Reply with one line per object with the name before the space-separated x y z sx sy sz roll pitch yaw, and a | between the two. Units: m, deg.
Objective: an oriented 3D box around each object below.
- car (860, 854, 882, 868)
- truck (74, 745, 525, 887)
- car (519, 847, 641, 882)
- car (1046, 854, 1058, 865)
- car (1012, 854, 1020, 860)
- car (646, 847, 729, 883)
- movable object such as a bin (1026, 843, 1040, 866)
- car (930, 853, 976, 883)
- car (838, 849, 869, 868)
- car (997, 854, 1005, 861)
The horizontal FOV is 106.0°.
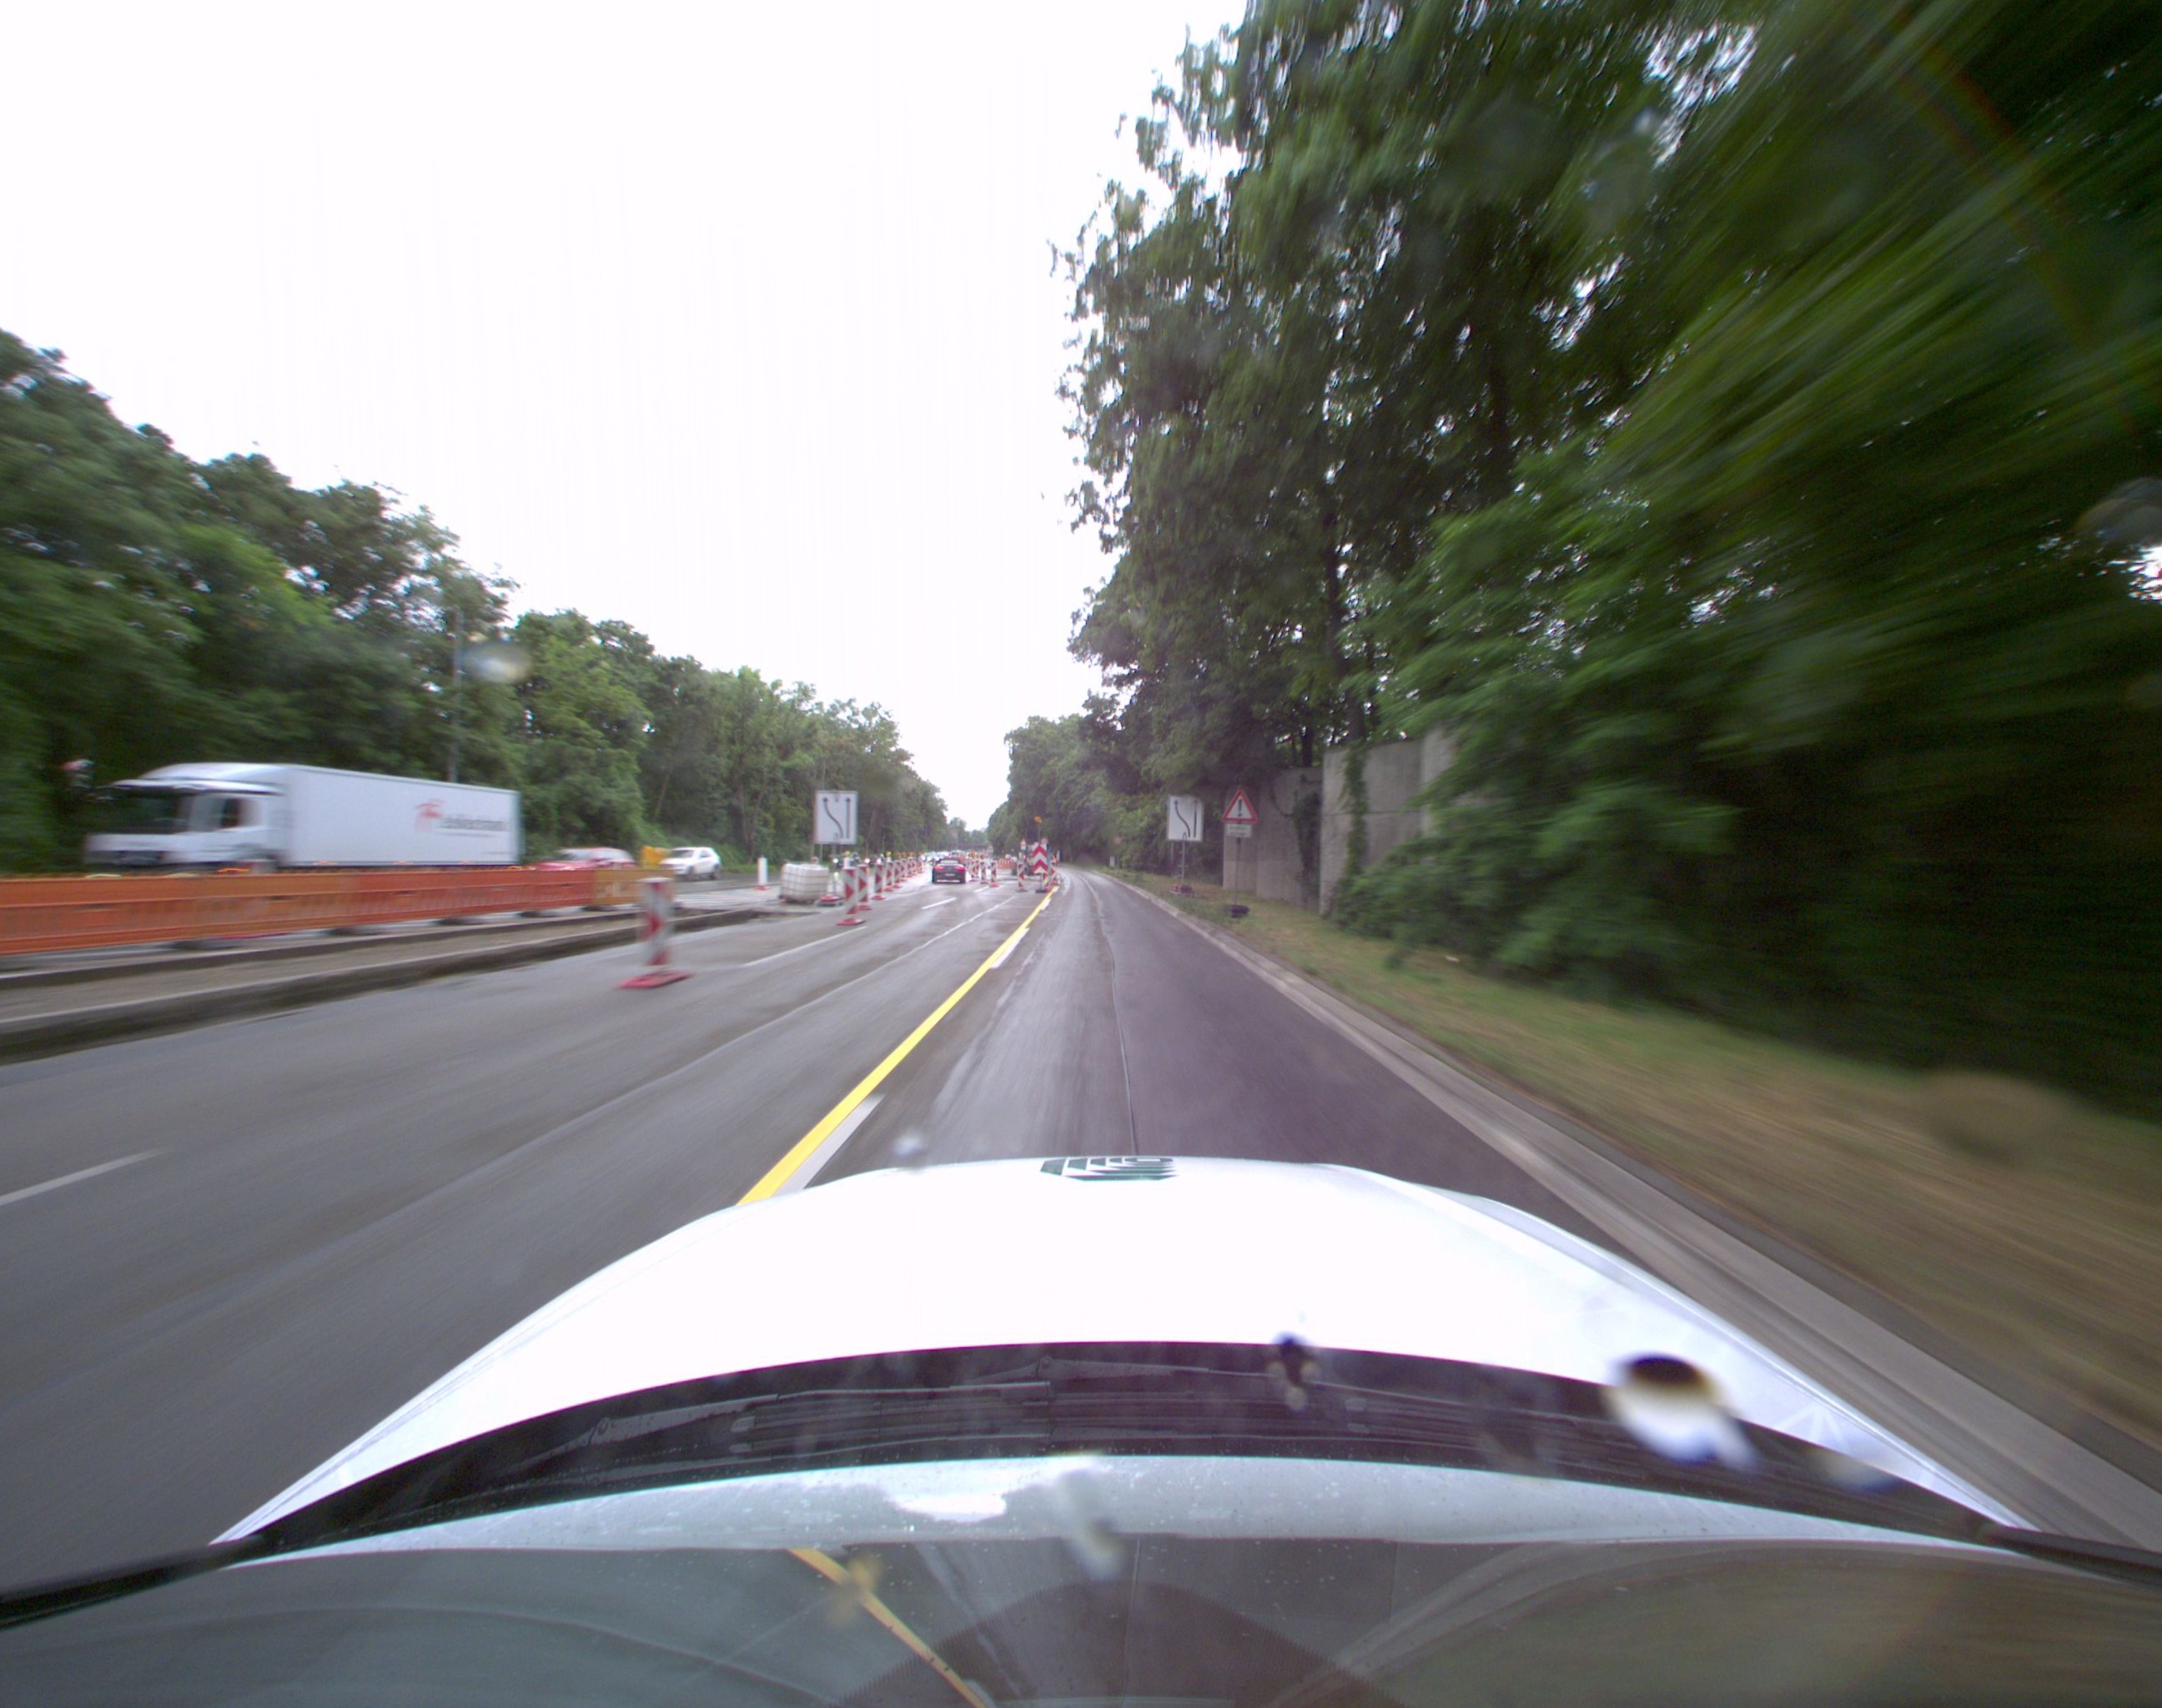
car | -22.732 0.704 88.186 1.521 1.457 3.538 -1 0 -1
truck | -21.012 -0.852 23.341 2.785 3.148 10.153 1 0 2
car | -17.797 0.359 29.188 1.599 1.152 4.285 1 0 2
car | -4.587 0.819 129.024 1.909 1.598 4.829 1 1 -2
car | -15.324 0.698 191.418 1.755 1.344 3.990 2 1 -8
car | -20.575 0.552 42.800 1.837 1.723 4.721 -3 0 2
movable object such as a bin | -6.290 0.064 106.171 1.743 2.867 3.529 0 0 -4
car | -7.147 0.760 45.772 1.855 1.491 4.001 2 1 1
car | -20.958 0.397 75.110 1.630 1.647 4.198 0 0 0
car | -22.048 1.015 223.434 1.870 1.618 3.997 3 0 -2
